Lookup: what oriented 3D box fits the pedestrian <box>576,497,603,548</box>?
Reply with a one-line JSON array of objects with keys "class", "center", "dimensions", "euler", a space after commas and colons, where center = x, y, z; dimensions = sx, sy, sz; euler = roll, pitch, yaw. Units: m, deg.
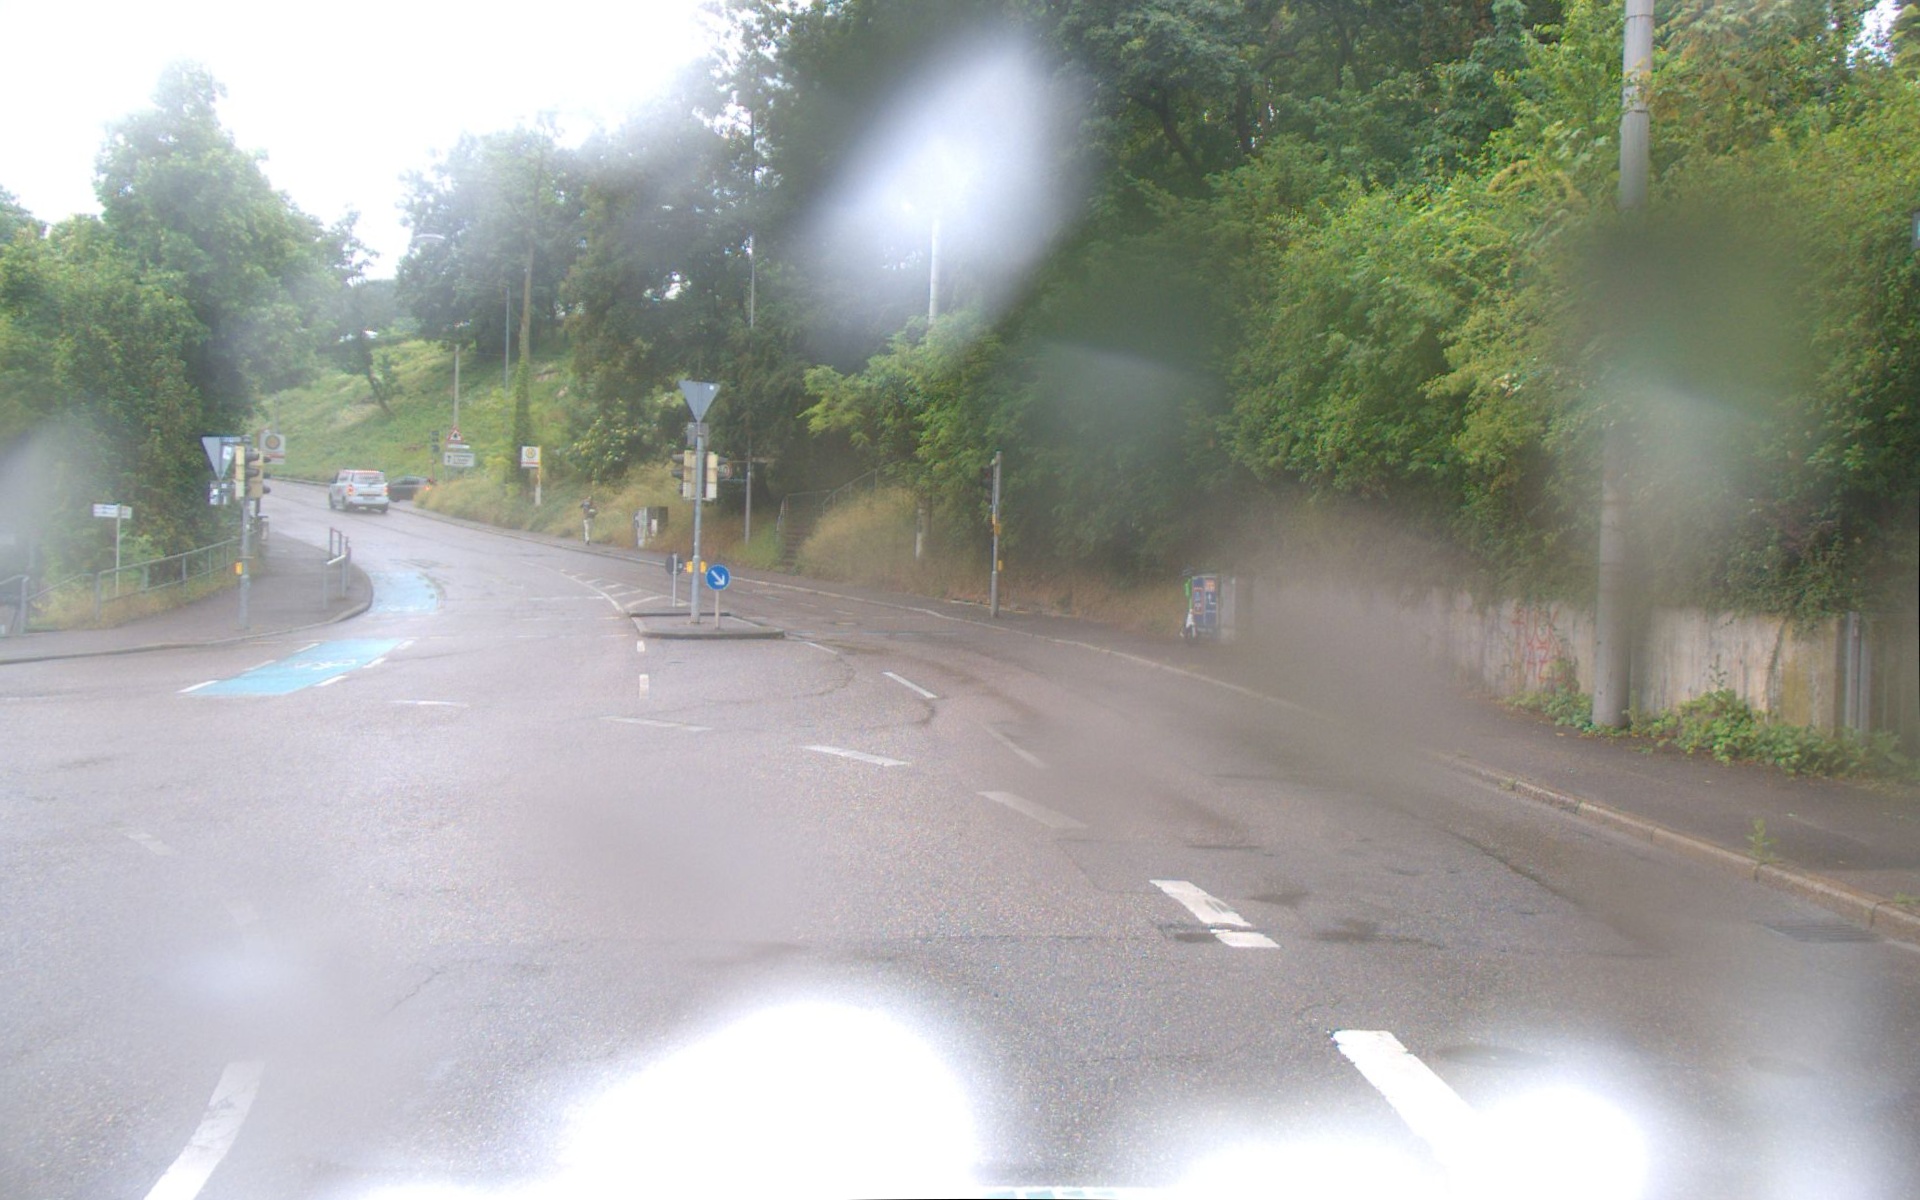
[{"class": "pedestrian", "center": [-13.449, -2.798, 60.058], "dimensions": [0.867, 1.767, 0.861], "euler": [1, -1, -18]}]

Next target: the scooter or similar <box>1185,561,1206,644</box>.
[{"class": "scooter or similar", "center": [3.778, 0.029, 26.549], "dimensions": [0.315, 1.302, 0.752], "euler": [0, 3, 7]}]

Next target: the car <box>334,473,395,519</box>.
[{"class": "car", "center": [-28.823, -5.000, 79.918], "dimensions": [2.043, 2.041, 4.768], "euler": [0, 1, -29]}]

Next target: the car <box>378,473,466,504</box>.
[{"class": "car", "center": [-30.299, -6.277, 93.240], "dimensions": [4.297, 1.538, 1.965], "euler": [3, 3, 13]}]
